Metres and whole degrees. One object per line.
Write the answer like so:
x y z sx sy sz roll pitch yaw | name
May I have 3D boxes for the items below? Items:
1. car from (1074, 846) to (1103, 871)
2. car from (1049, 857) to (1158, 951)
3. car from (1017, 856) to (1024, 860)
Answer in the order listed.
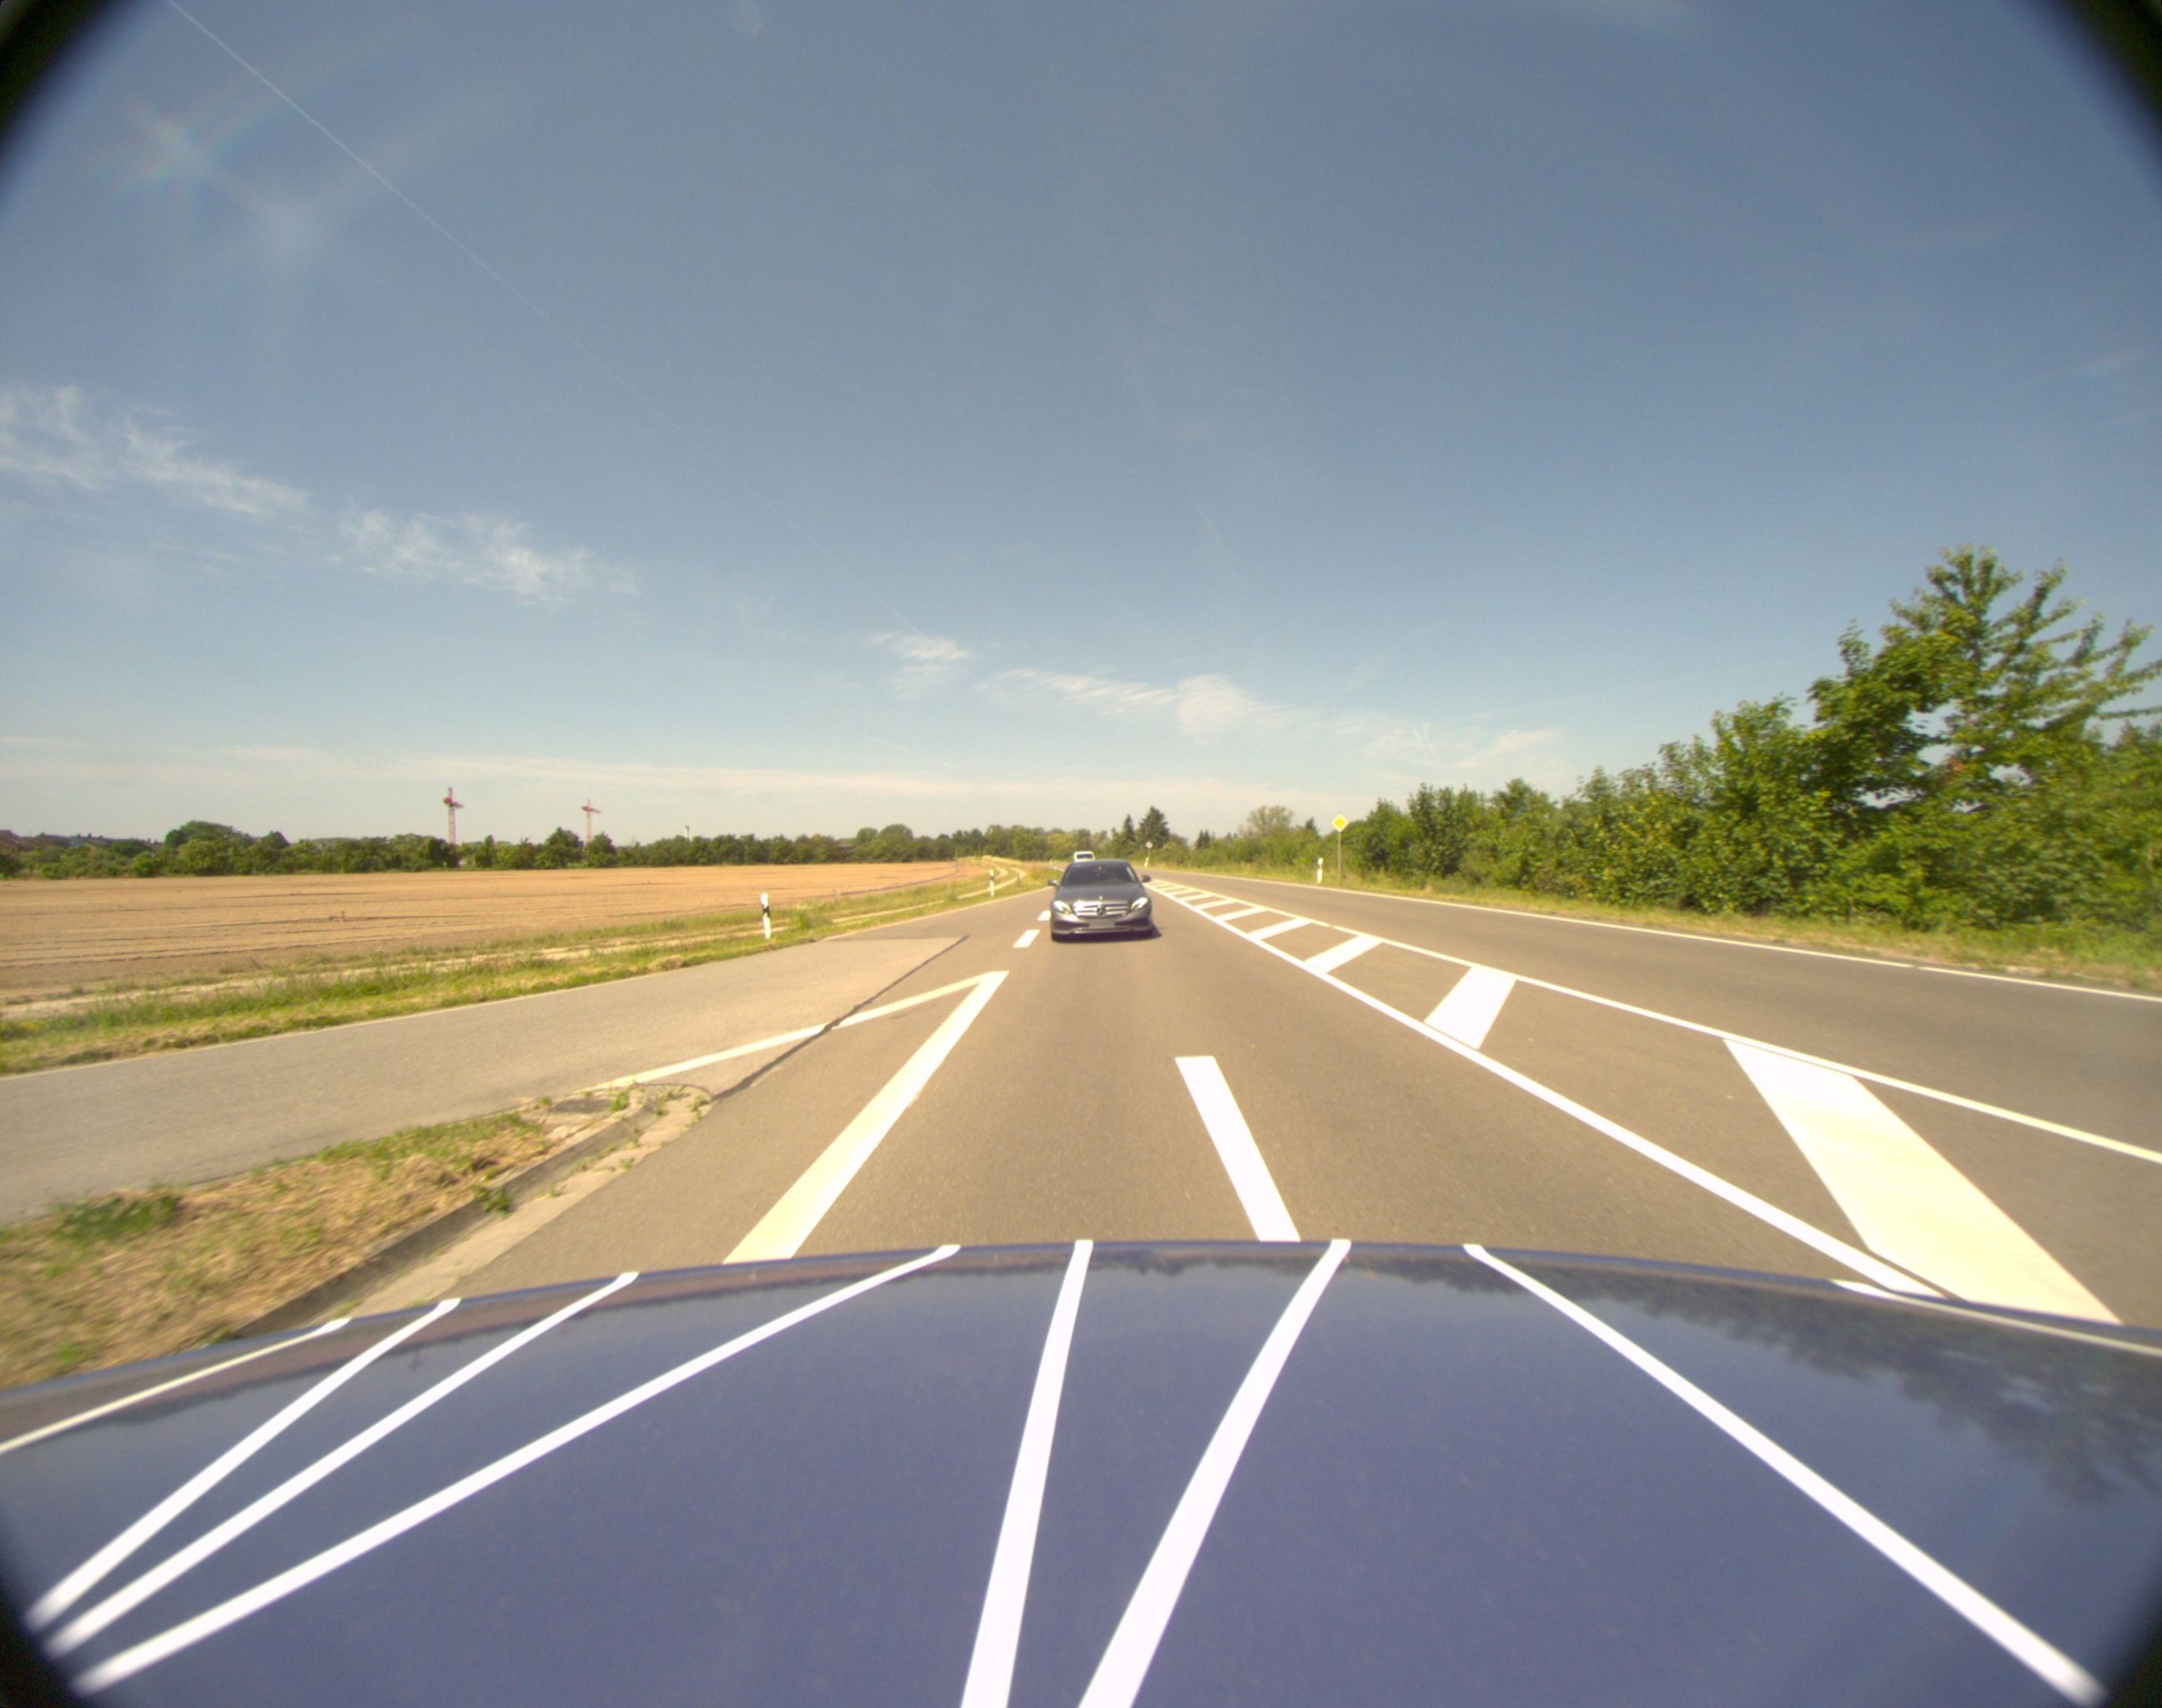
0.652 0.409 68.204 2.180 2.002 5.023 -4 0 -3 | car
0.546 0.878 15.333 1.831 1.540 4.500 -2 0 4 | car
-18.379 1.225 231.284 1.698 1.355 3.822 -3 1 -10 | car
